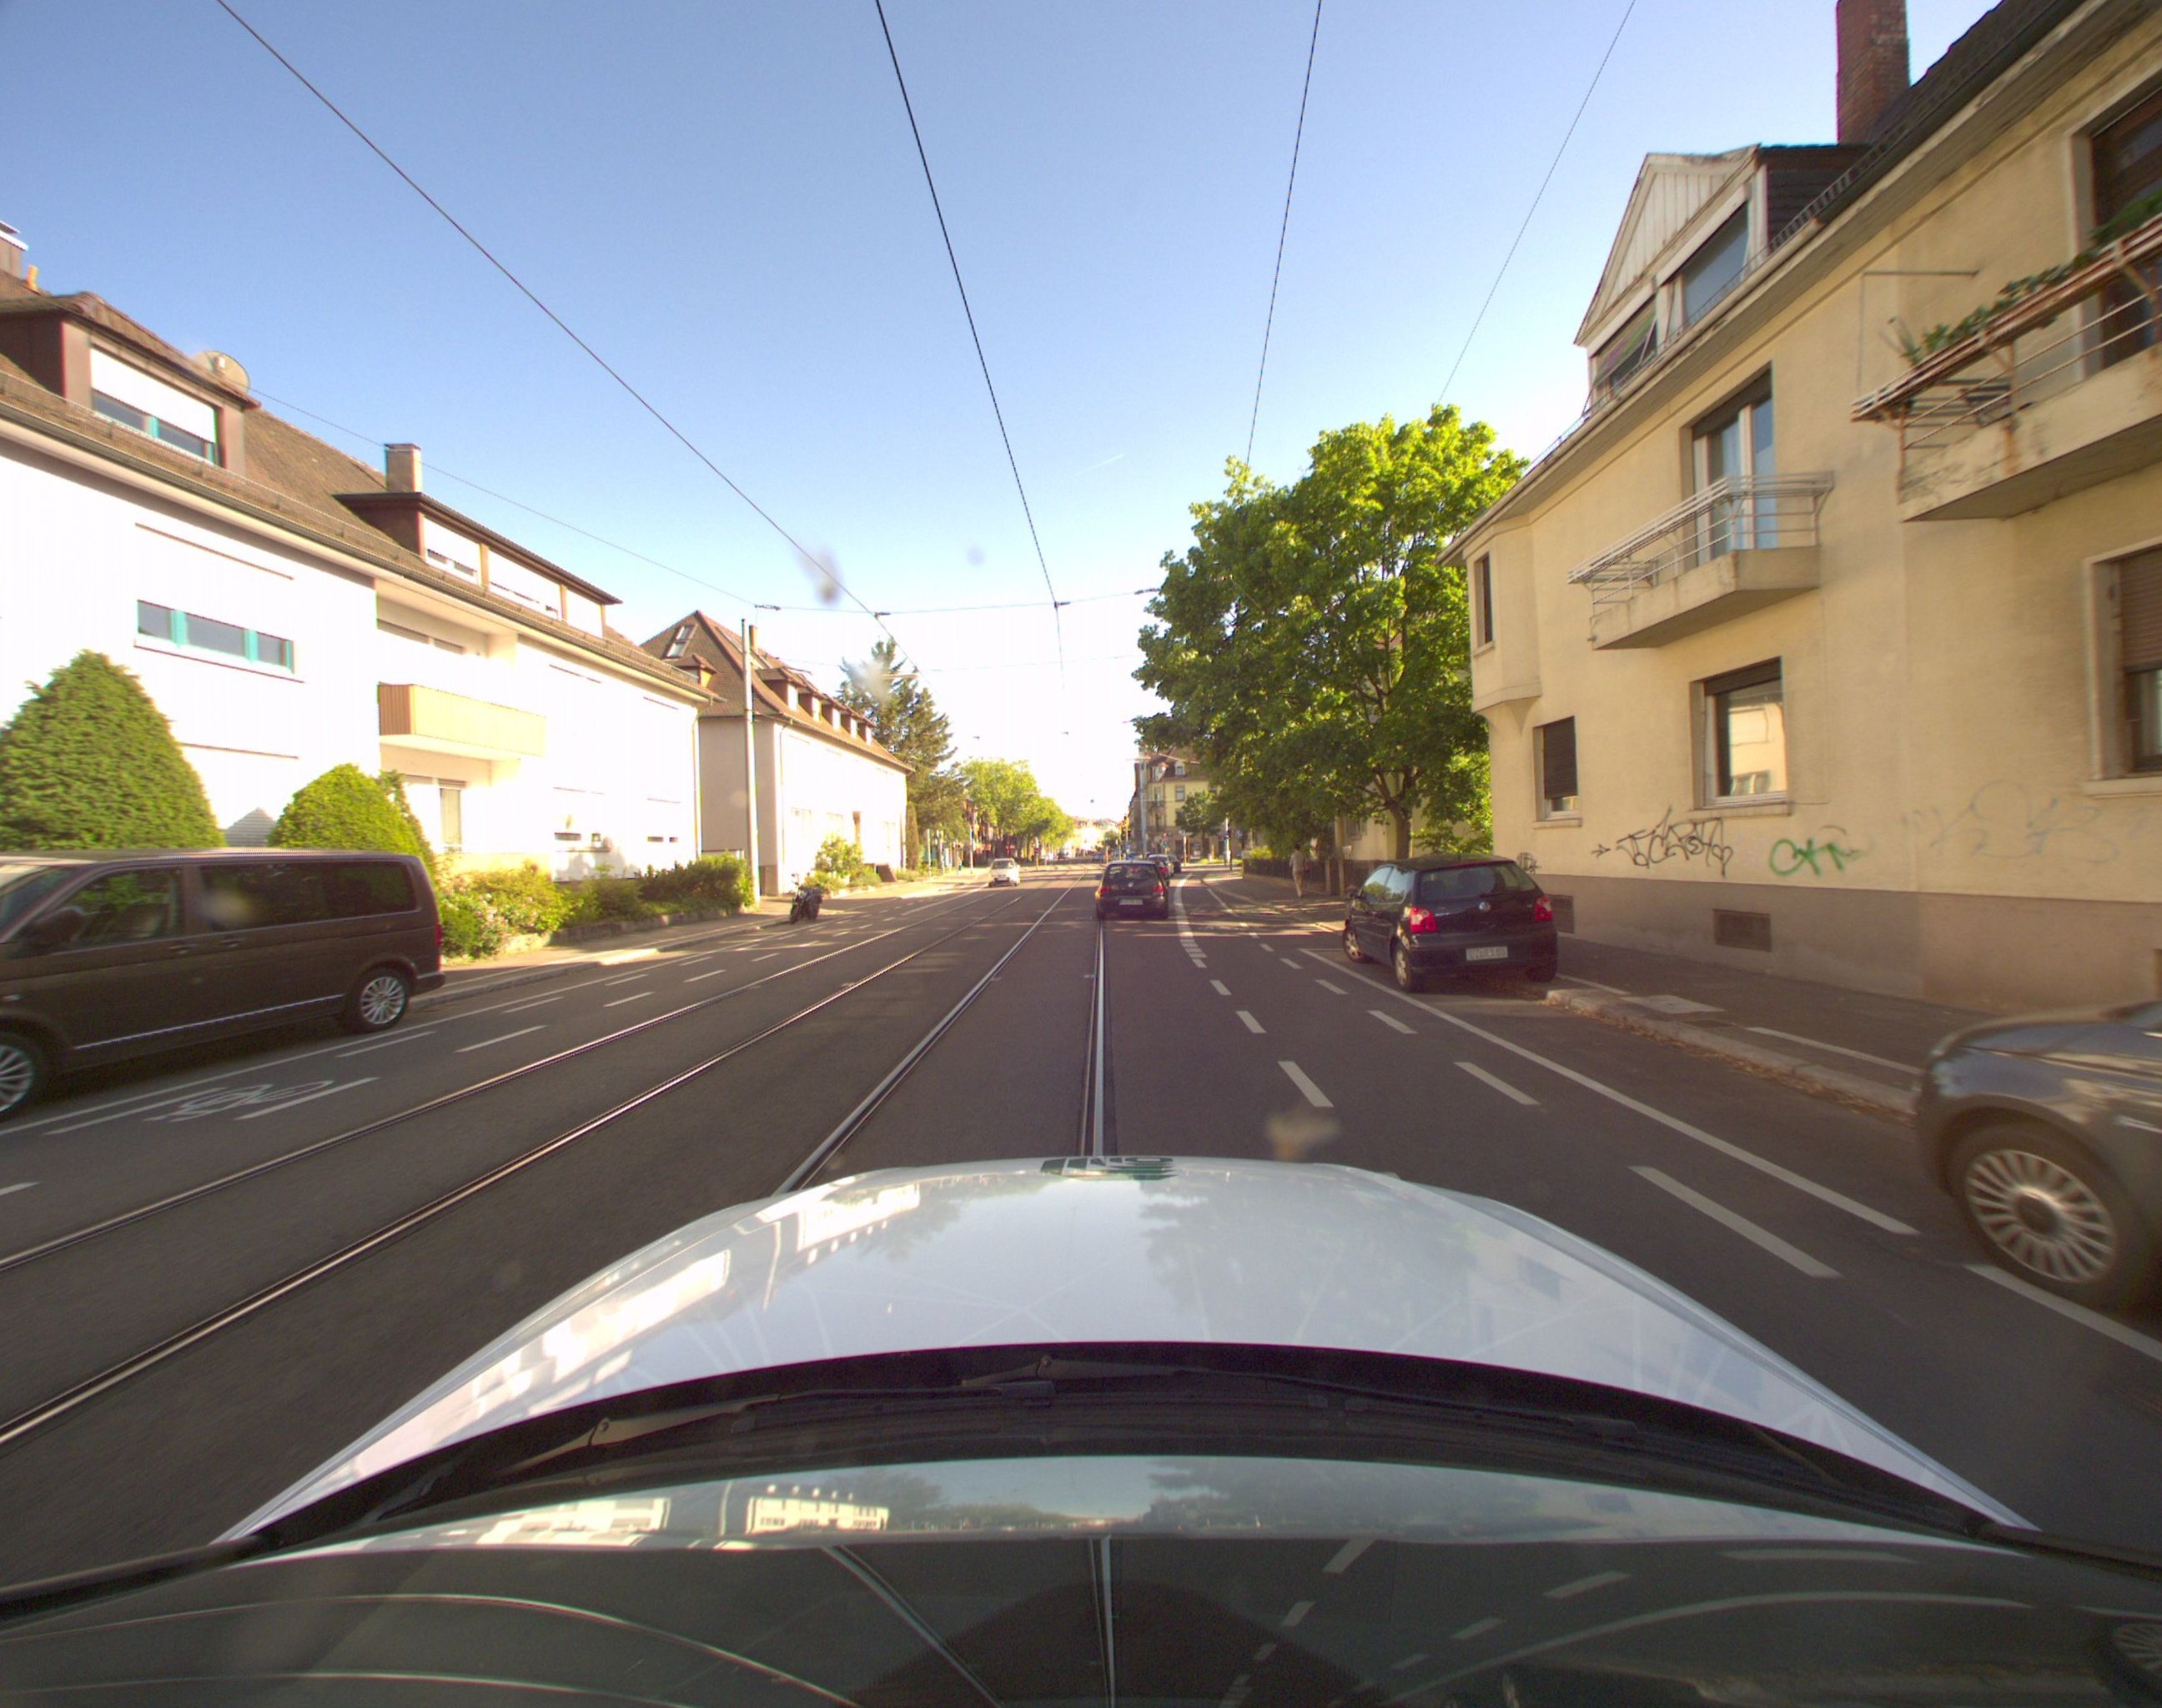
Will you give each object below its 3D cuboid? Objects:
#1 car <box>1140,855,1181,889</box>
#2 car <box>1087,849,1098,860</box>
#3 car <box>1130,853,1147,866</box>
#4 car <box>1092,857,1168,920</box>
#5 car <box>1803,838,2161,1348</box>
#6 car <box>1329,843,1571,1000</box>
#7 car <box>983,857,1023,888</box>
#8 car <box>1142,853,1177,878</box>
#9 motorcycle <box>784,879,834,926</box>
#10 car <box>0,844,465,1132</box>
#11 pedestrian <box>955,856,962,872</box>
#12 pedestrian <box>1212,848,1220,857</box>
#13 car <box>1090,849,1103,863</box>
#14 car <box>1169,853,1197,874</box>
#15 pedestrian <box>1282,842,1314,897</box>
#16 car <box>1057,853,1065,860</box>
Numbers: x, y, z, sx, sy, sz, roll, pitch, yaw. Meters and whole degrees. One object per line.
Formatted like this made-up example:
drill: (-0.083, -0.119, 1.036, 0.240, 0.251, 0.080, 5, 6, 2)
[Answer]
car: (3.587, 0.792, 37.293, 1.628, 1.372, 3.759, -2, 0, 2)
car: (2.023, 0.107, 145.904, 1.781, 1.859, 3.999, -2, 0, 0)
car: (6.676, 0.612, 94.927, 1.676, 1.453, 3.378, -2, 0, 0)
car: (1.274, 0.797, 20.407, 1.708, 1.402, 4.011, 0, 0, 5)
car: (4.031, 0.712, 1.874, 1.596, 1.525, 3.548, 0, 0, 0)
car: (4.361, 0.710, 10.263, 1.657, 1.564, 3.778, -2, -1, 7)
car: (-4.076, 0.936, 43.016, 1.569, 1.477, 3.442, -3, 0, 2)
car: (4.939, 0.716, 51.108, 1.728, 1.441, 3.822, -2, 0, 12)
motorcycle: (-7.609, 1.330, 22.880, 0.534, 1.162, 2.173, -4, 0, 2)
car: (-8.440, 0.937, 7.300, 1.898, 2.014, 4.952, 0, 0, 3)
pedestrian: (-13.171, 1.063, 87.777, 0.610, 1.689, 0.729, 1, 0, -17)
pedestrian: (18.746, -0.185, 113.401, 0.976, 1.187, 0.743, -2, 0, 1)
car: (2.245, 0.301, 115.743, 1.781, 1.860, 3.999, 0, 0, 0)
car: (7.539, 0.671, 60.445, 1.565, 1.311, 3.646, -2, 2, -1)
pedestrian: (6.911, 0.492, 25.988, 0.715, 1.688, 0.870, -3, 0, 0)
car: (-5.194, 0.566, 213.574, 1.967, 1.815, 4.292, -2, 0, -3)
